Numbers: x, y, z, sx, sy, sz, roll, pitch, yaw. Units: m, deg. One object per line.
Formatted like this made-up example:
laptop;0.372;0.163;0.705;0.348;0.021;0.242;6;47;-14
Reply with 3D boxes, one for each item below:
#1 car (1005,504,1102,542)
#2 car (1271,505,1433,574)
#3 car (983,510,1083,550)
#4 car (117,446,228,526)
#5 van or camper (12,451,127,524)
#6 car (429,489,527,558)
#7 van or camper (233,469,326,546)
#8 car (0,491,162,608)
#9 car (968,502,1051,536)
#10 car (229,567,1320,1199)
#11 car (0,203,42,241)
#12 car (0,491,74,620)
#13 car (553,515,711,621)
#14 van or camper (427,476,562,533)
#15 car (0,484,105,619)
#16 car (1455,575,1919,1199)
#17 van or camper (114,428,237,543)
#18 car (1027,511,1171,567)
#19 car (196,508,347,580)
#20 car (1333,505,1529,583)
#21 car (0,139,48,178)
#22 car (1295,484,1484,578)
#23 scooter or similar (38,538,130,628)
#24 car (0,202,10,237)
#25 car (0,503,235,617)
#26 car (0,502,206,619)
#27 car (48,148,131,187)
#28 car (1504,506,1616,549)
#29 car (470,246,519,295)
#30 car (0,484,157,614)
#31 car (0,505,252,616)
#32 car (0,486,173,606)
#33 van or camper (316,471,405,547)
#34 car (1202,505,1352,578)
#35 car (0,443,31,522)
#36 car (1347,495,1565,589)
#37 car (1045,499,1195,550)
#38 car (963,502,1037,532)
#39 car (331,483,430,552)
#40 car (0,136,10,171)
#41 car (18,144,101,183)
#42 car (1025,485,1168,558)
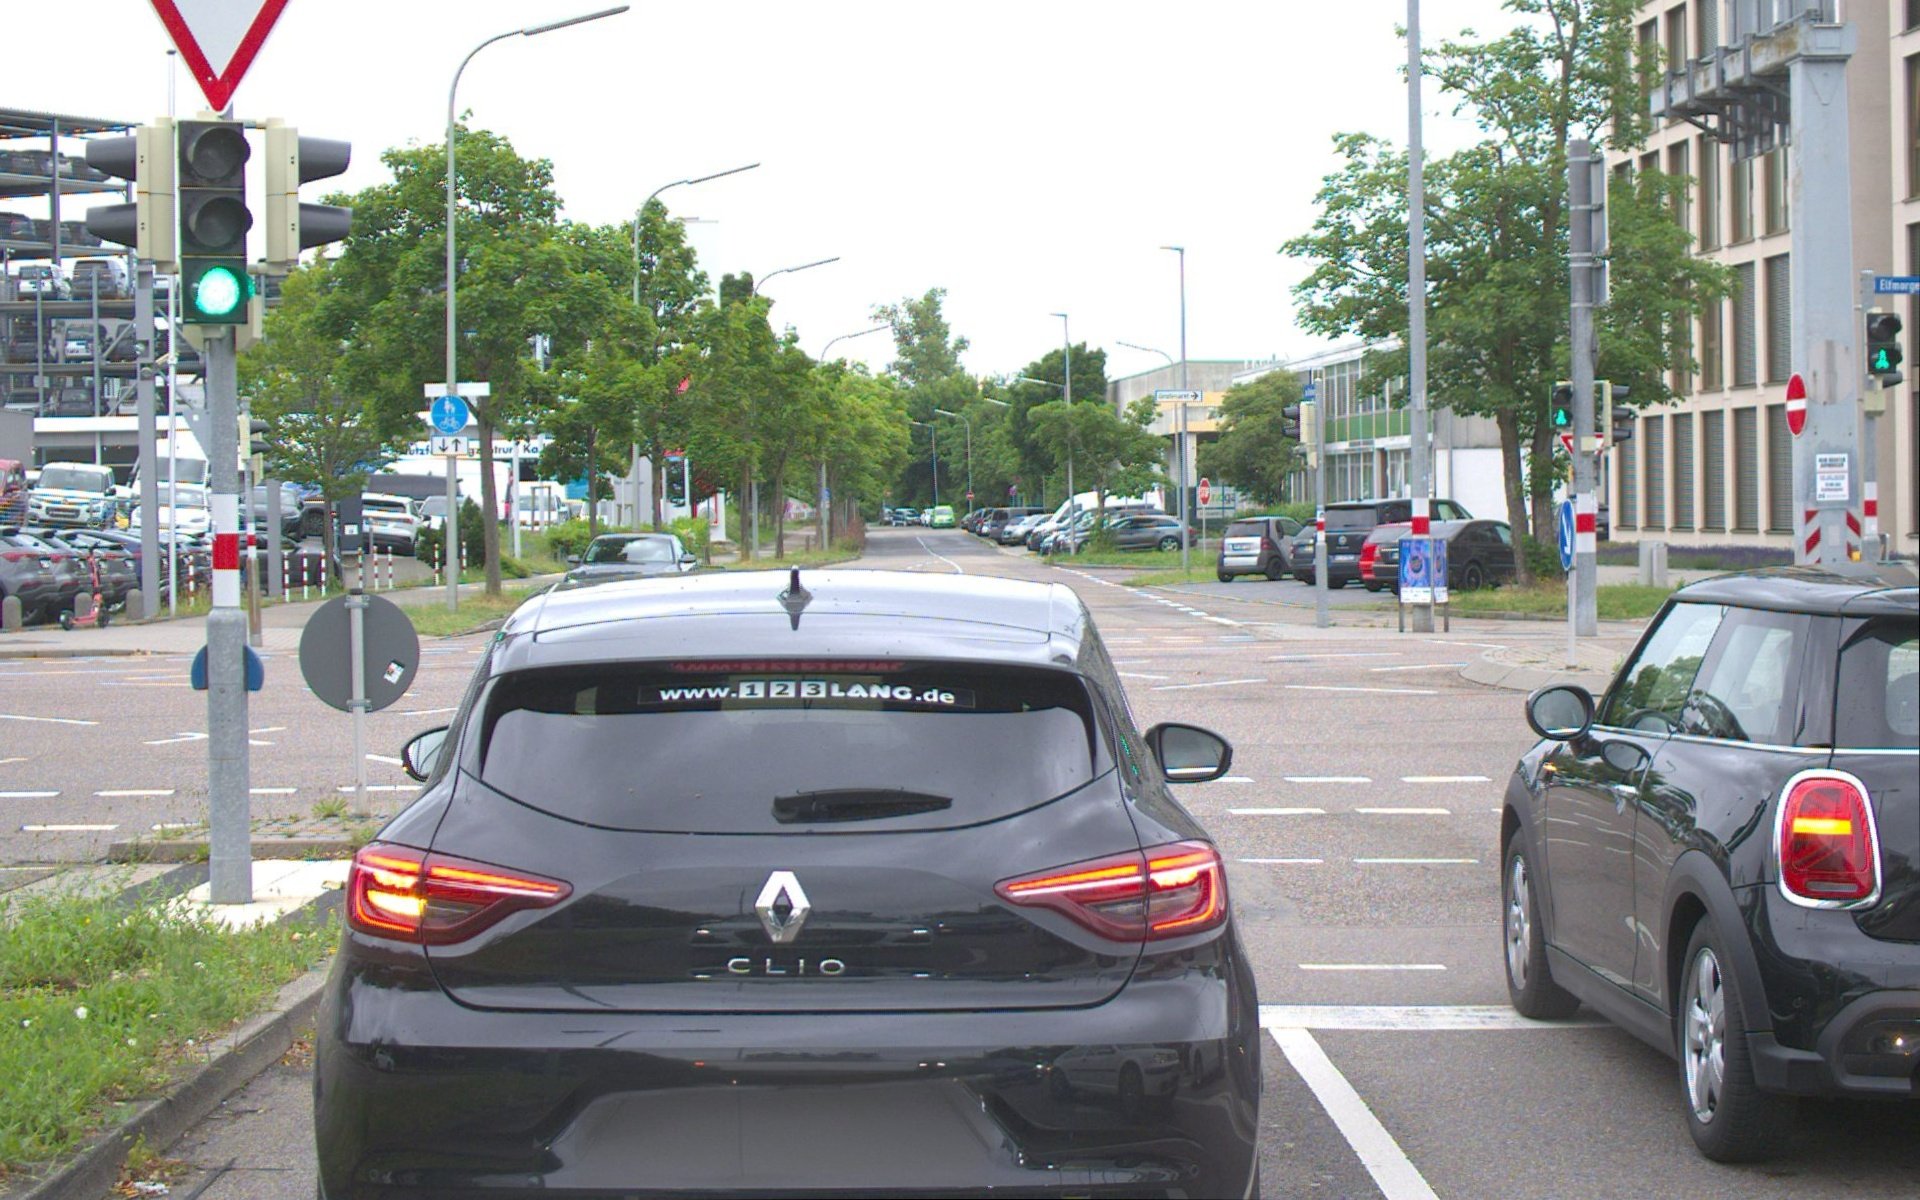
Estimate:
car;4.737;-3.929;175.542;4.785;1.885;2.144;1;0;-2
car;8.870;-1.358;77.622;1.696;1.506;3.808;0;1;43
car;3.832;-3.709;182.140;5.173;2.007;2.144;1;0;-1
car;-19.075;-2.751;83.416;1.993;1.817;4.001;1;1;-4
van or camper;-21.542;-2.700;83.290;1.993;1.645;4.001;1;1;-4
car;-11.805;-1.850;84.435;1.993;1.612;4.000;1;1;-2
van or camper;-18.705;-2.525;94.645;1.993;2.007;4.001;1;1;-4
car;-16.418;-0.811;59.163;4.945;1.870;2.054;-3;1;-6
car;3.147;-5.130;217.926;5.173;2.007;2.144;1;0;-1
car;-0.325;0.654;7.582;1.757;1.430;4.000;1;1;-1
car;-49.175;-19.343;176.106;3.994;1.661;1.996;1;2;32
car;-15.778;-0.572;50.959;4.771;1.856;2.000;-3;1;-5
car;-5.077;-0.541;53.754;1.978;1.546;4.614;-1;2;0
van or camper;-20.281;-4.152;149.971;5.598;2.363;2.000;1;0;-1
car;-15.911;-0.677;53.528;4.700;2.007;2.000;-3;1;-4
car;2.515;0.650;9.356;1.786;1.411;3.643;1;0;0
van or camper;-21.552;-3.108;94.647;2.535;3.016;4.844;1;1;-4
car;5.192;-2.264;128.955;5.173;2.007;2.144;1;0;-2
car;-19.788;-1.605;98.895;3.986;2.007;2.000;1;0;-3
car;9.756;-1.158;71.020;1.887;1.546;4.123;0;1;45
car;-48.900;-22.602;176.233;3.994;1.661;1.996;1;2;32
car;9.299;-1.480;74.217;1.998;1.959;4.235;0;1;41
scooter or similar;-12.297;-0.251;48.295;0.557;1.214;1.559;2;2;13
car;-50.270;-19.258;174.150;3.994;1.661;1.996;1;2;32
car;-16.824;-0.775;67.194;4.892;2.007;2.000;-3;1;-5
car;-16.793;-0.719;64.474;4.892;2.007;2.000;-3;1;-5
car;-45.963;-22.828;181.528;3.994;1.661;1.996;1;2;32
car;19.352;-2.340;110.856;3.229;1.328;1.486;1;0;-19
car;-21.478;-15.178;158.657;1.993;1.876;4.001;-1;1;-5
car;-15.966;-0.768;56.535;5.022;2.007;2.266;-3;1;-5
car;-17.062;-0.804;70.025;4.892;2.007;2.000;-3;1;-5
car;-16.698;-0.924;61.654;4.772;2.007;2.000;-3;1;-6
van or camper;-16.506;-2.496;94.837;1.993;2.007;4.001;1;1;-4
car;7.757;-1.422;83.934;3.424;1.726;1.765;0;1;-42
car;-23.997;-2.852;83.527;1.993;1.842;4.001;1;1;-4
car;9.636;-1.126;66.632;4.121;1.762;1.888;-1;1;-40
car;5.732;-2.705;123.354;5.173;1.714;2.144;1;0;-2
car;2.679;-5.559;229.837;4.785;1.885;2.144;1;0;-2
car;-14.083;-1.988;83.765;1.993;1.612;4.001;1;1;-4
car;-50.290;-22.604;174.124;3.994;1.661;1.996;1;2;32
car;-47.060;-22.776;179.585;3.994;1.661;1.996;1;2;32
car;6.010;-3.431;151.546;6.116;3.105;2.134;1;0;-1
